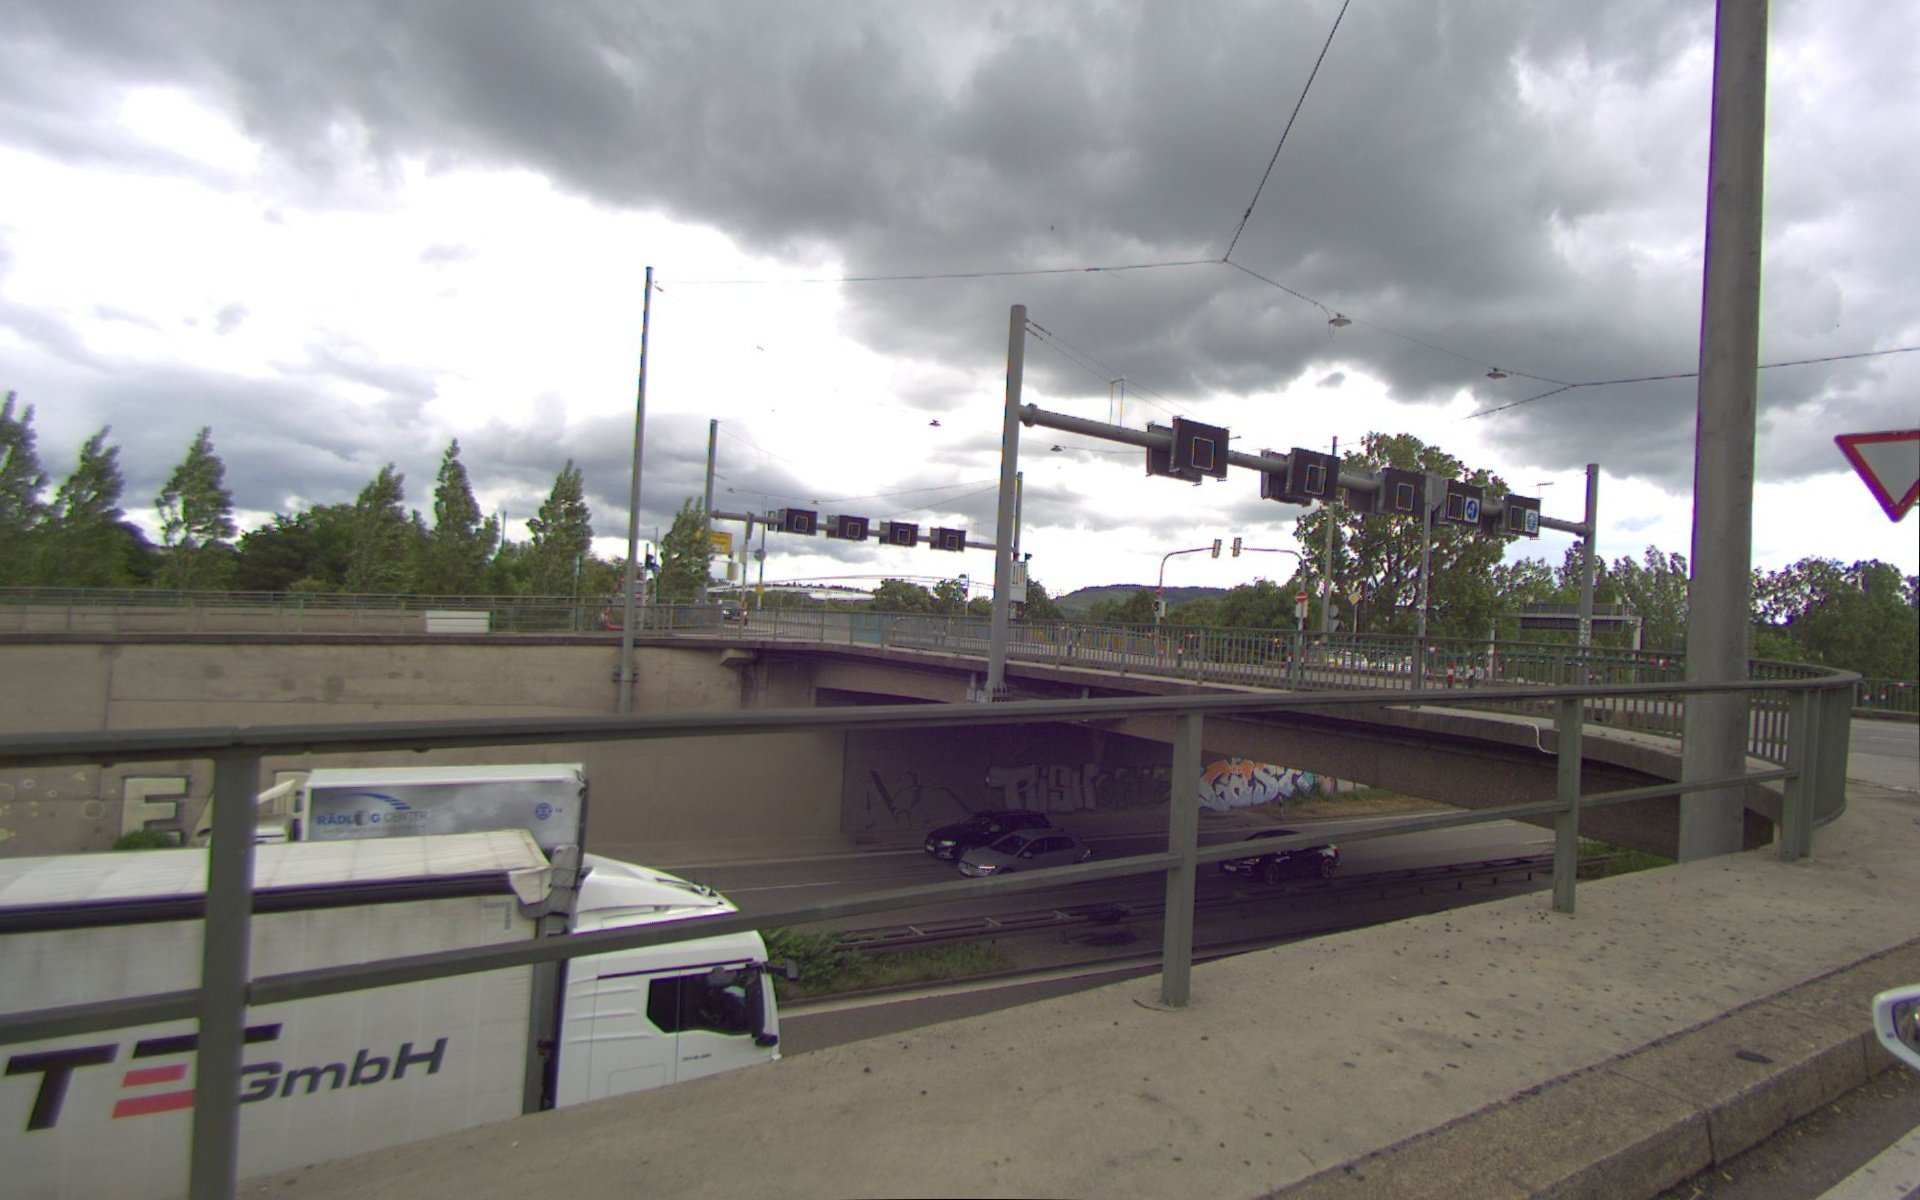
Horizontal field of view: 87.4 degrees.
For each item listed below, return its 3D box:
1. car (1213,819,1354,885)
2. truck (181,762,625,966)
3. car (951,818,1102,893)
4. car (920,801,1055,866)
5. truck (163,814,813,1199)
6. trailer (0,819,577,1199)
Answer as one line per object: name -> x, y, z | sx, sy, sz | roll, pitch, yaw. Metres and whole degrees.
car -> 10.580, 8.155, 32.762 | 4.518, 1.512, 1.831 | 4, -5, -30
truck -> -11.957, 5.543, 22.379 | 8.040, 3.505, 2.501 | 5, -4, -31
car -> 2.030, 7.638, 30.321 | 4.252, 1.632, 1.812 | 5, -4, -32
car -> 0.946, 7.824, 33.957 | 4.252, 1.632, 1.812 | 4, -4, -32
truck -> -5.021, 4.855, 11.413 | 5.805, 4.162, 2.990 | 5, -4, -29
trailer -> -10.735, 4.351, 8.098 | 13.827, 4.162, 2.989 | 5, -4, -30
